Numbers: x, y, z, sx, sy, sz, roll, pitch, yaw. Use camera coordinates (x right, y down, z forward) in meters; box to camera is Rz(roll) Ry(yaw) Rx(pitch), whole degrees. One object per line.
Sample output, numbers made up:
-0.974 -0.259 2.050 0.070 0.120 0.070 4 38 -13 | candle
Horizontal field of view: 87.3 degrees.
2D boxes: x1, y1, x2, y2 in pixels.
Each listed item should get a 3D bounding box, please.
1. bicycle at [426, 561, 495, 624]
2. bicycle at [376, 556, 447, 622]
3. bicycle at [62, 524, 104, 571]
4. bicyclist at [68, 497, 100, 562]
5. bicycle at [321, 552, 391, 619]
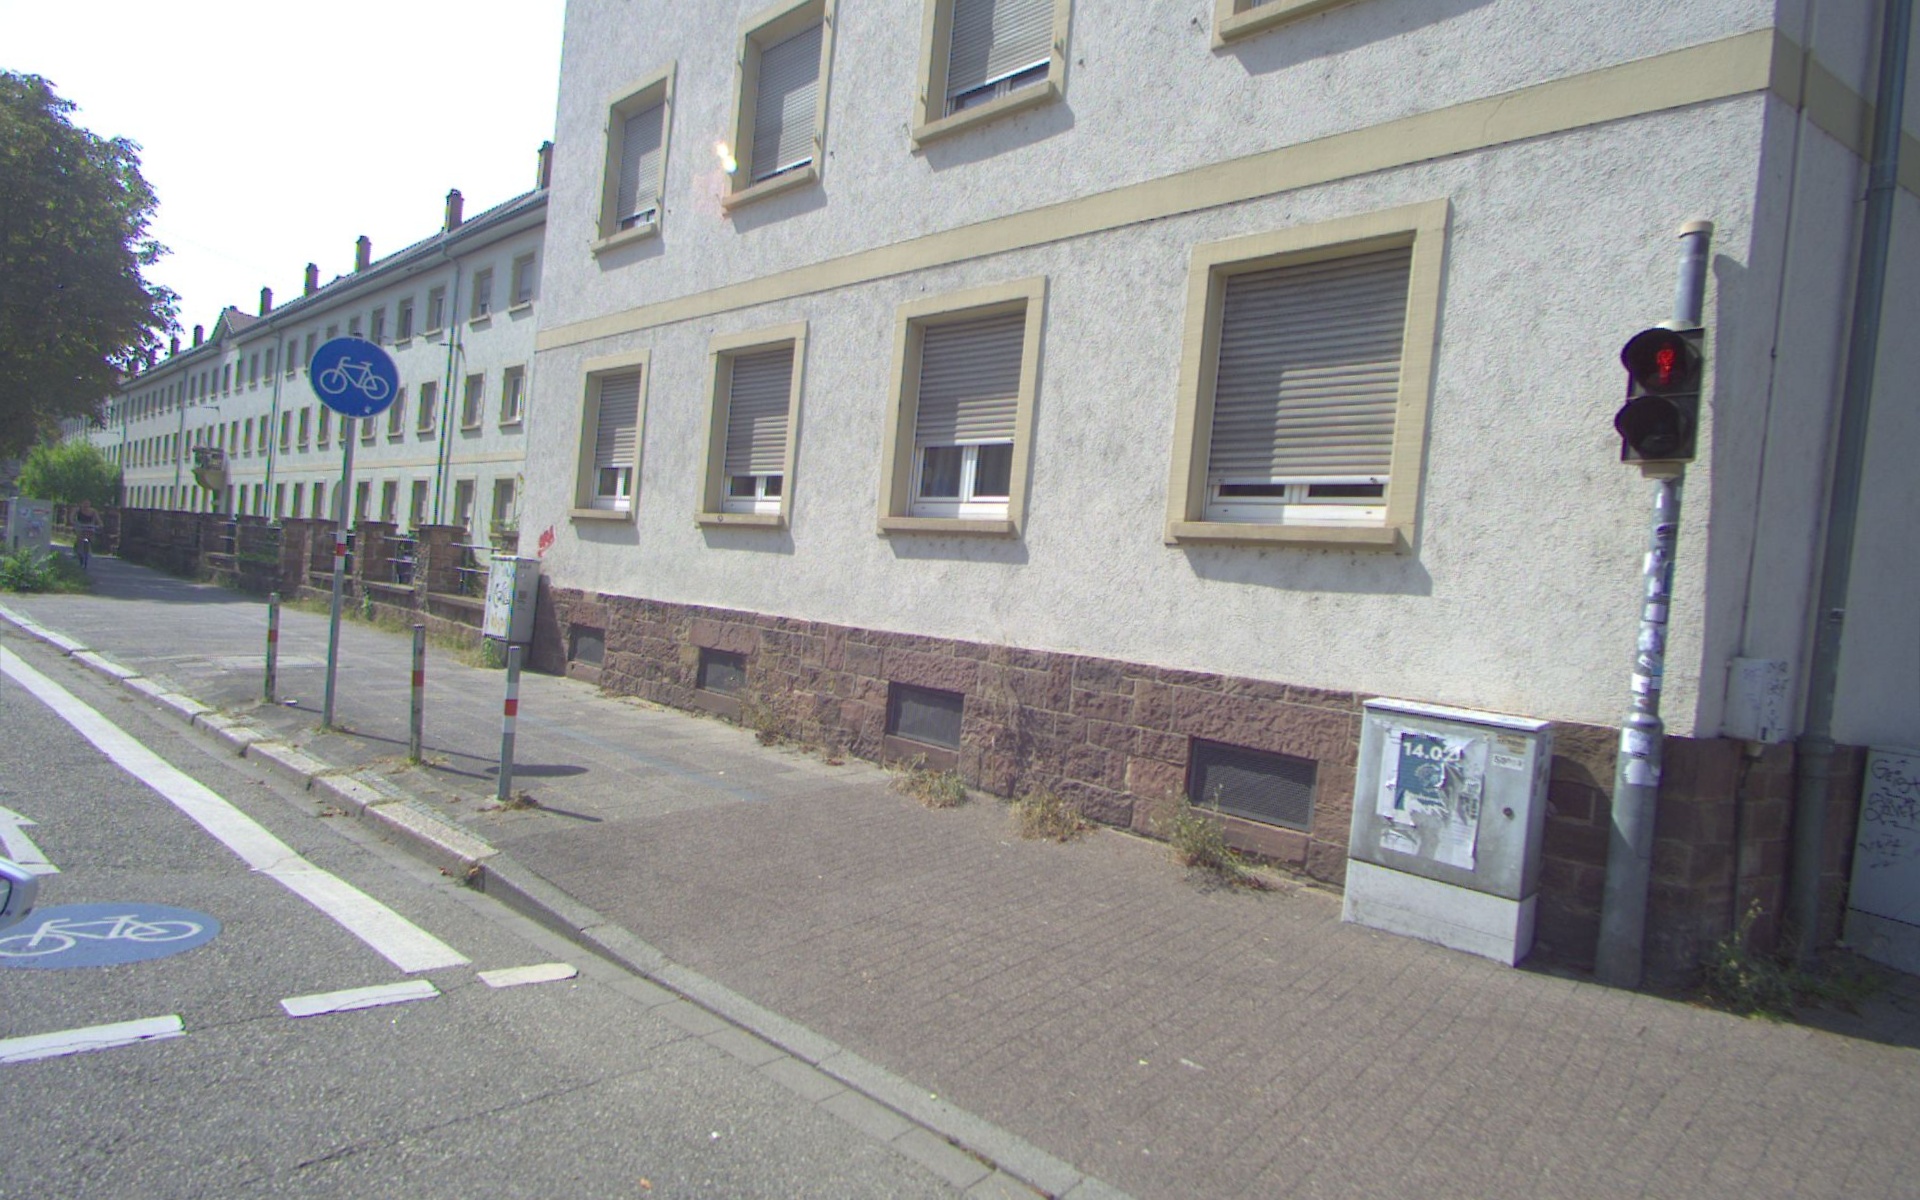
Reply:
-9.702 -0.158 19.499 1.803 1.060 0.439 6 1 40 | bicycle
-10.150 -0.215 18.588 1.803 1.060 0.439 6 1 40 | bicycle
-21.506 -1.298 24.664 1.803 1.060 0.439 6 1 40 | bicycle
-21.497 -1.721 24.681 0.465 1.531 0.436 6 1 39 | bicyclist
-10.845 -0.279 18.050 1.803 1.060 0.439 6 1 40 | bicycle
